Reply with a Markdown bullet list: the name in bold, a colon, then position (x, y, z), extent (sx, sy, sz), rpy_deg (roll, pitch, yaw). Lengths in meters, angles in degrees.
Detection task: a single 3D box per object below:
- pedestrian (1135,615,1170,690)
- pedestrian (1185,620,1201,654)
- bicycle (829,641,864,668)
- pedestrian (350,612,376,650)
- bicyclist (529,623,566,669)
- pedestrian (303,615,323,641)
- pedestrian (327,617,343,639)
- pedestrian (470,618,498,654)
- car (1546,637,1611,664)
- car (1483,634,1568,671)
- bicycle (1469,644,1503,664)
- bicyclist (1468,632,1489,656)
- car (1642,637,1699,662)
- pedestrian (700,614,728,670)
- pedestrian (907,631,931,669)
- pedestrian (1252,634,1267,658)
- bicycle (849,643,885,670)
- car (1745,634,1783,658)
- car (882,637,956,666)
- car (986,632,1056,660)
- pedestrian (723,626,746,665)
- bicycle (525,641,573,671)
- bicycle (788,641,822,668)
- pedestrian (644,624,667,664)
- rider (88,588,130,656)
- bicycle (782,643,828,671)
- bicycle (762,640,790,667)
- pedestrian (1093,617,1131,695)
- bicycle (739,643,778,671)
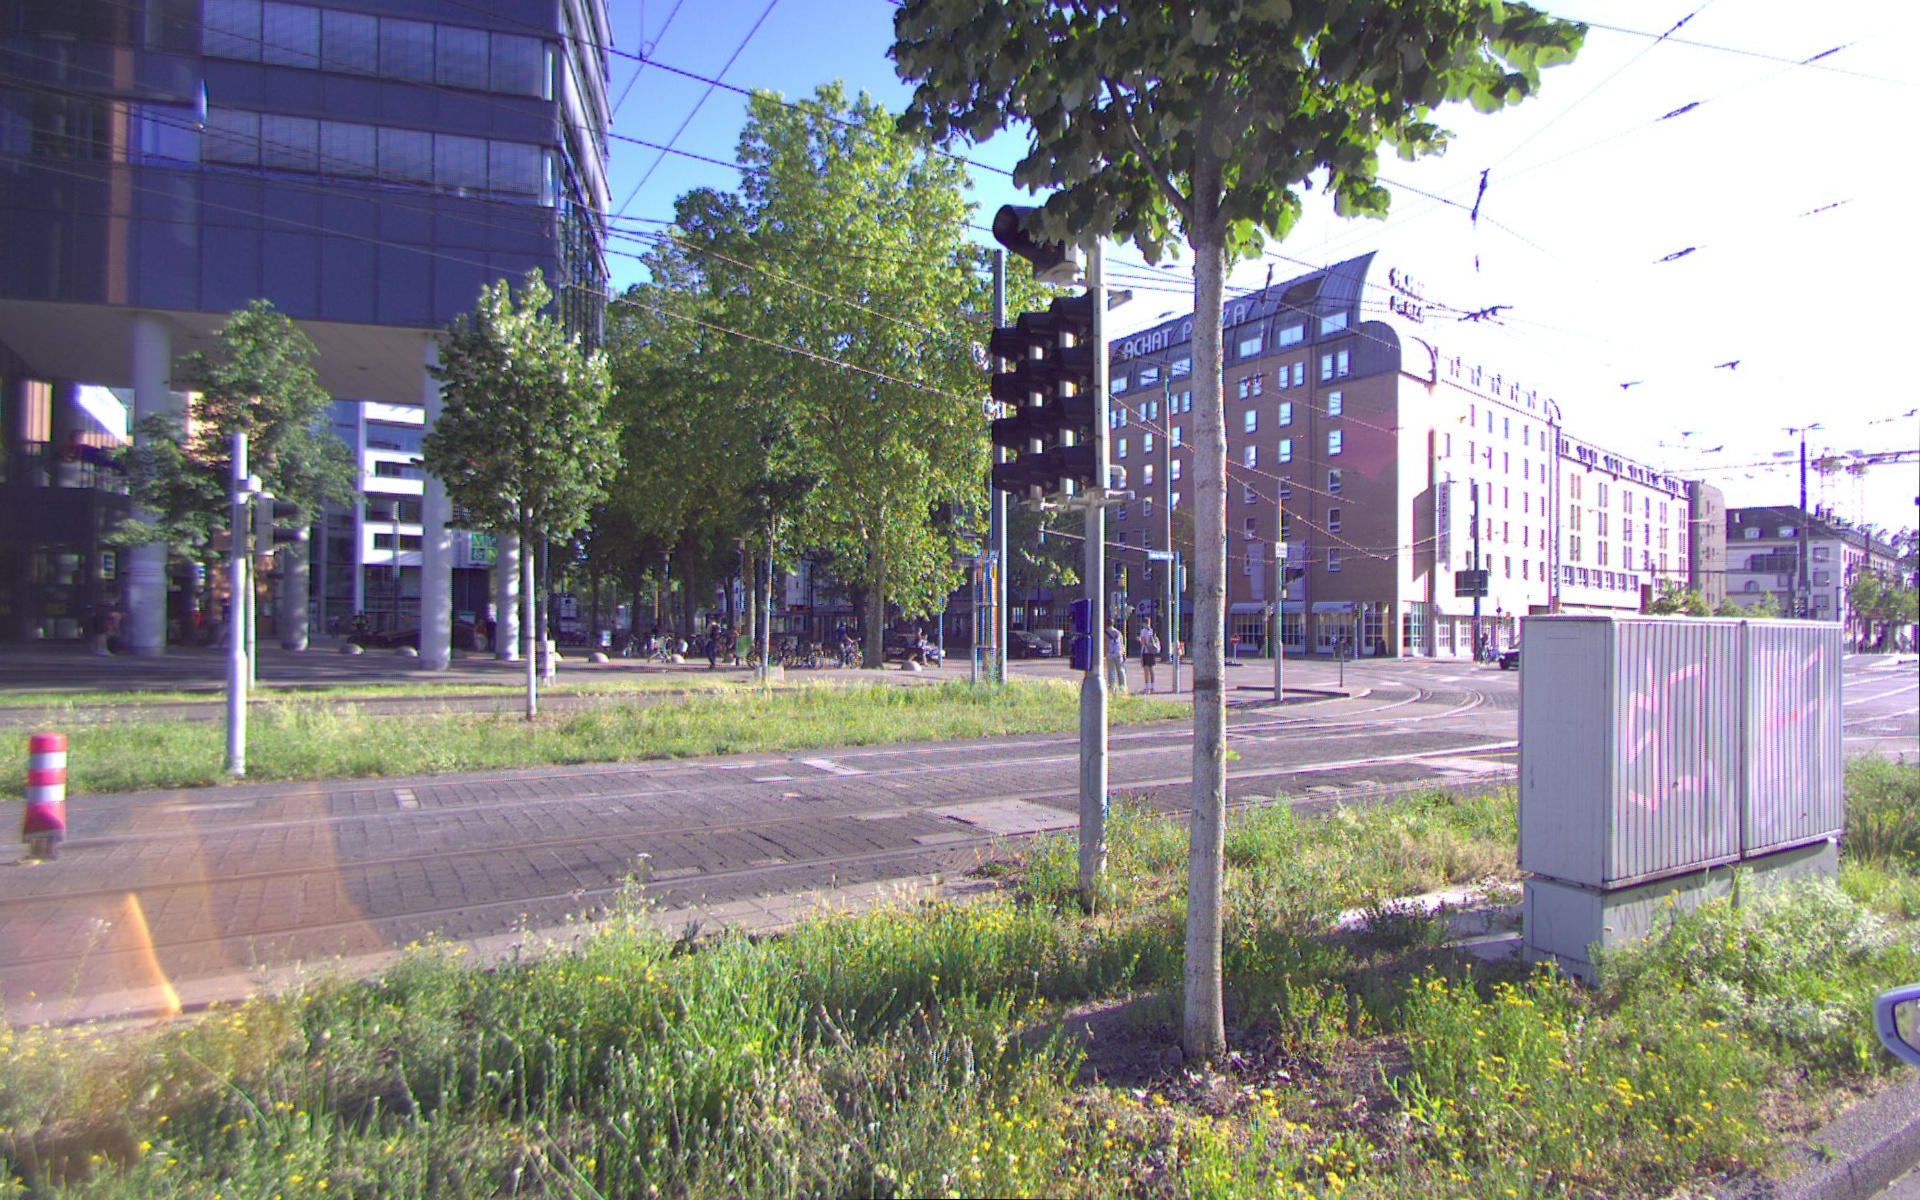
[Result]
- **pedestrian**: position (4.817, 1.294, 25.109), extent (0.656, 1.841, 0.559), rpy_deg (1, -1, -36)
- **pedestrian**: position (13.861, 2.203, 59.760), extent (0.669, 2.040, 0.663), rpy_deg (1, -1, -29)
- **bicycle**: position (-4.332, 2.067, 38.250), extent (0.536, 0.964, 1.753), rpy_deg (1, -2, -36)
- **pedestrian**: position (-28.073, 1.455, 47.256), extent (0.794, 1.730, 0.789), rpy_deg (1, 0, -13)
- **bicyclist**: position (-13.557, 1.510, 33.005), extent (0.999, 1.484, 0.678), rpy_deg (0, -1, 32)
- **pedestrian**: position (-38.374, 1.642, 59.609), extent (0.647, 1.500, 1.053), rpy_deg (1, 0, -13)
- **pedestrian**: position (-37.941, 1.719, 60.974), extent (0.651, 1.294, 0.636), rpy_deg (1, 0, -13)
- **pedestrian**: position (-23.780, 1.802, 50.166), extent (1.091, 1.730, 0.789), rpy_deg (1, 0, -13)
- **car**: position (35.348, 2.885, 57.364), extent (4.104, 1.440, 1.711), rpy_deg (2, -4, -36)
- **car**: position (26.771, 2.444, 47.473), extent (4.699, 1.617, 1.977), rpy_deg (2, -2, -40)
- **bicycle**: position (30.117, 3.078, 57.488), extent (2.900, 1.099, 0.645), rpy_deg (2, -2, -38)
- **bicyclist**: position (29.529, 2.502, 57.221), extent (0.942, 1.393, 0.752), rpy_deg (1, -1, -37)
- **car**: position (43.286, 3.016, 61.177), extent (3.960, 1.468, 1.563), rpy_deg (2, -2, -35)
- **pedestrian**: position (-9.145, 1.546, 37.327), extent (0.826, 2.040, 0.730), rpy_deg (1, 0, -25)
- **pedestrian**: position (-1.816, 2.206, 44.393), extent (0.832, 1.619, 0.692), rpy_deg (1, 0, -33)
- **pedestrian**: position (19.165, 2.935, 64.295), extent (0.652, 1.523, 0.672), rpy_deg (1, -1, -33)
- **bicycle**: position (-3.562, 2.160, 38.466), extent (0.536, 0.964, 1.753), rpy_deg (1, -2, -36)
- **car**: position (53.367, 3.040, 66.634), extent (1.726, 1.524, 3.858), rpy_deg (-1, -2, 43)
- **car**: position (-2.061, 2.500, 49.186), extent (1.977, 1.283, 3.968), rpy_deg (1, -2, -30)
- **car**: position (3.332, 2.489, 55.159), extent (1.743, 1.439, 3.960), rpy_deg (1, -2, -35)
- **pedestrian**: position (-9.716, 1.952, 43.300), extent (0.826, 1.619, 0.730), rpy_deg (1, 0, -25)
- **bicycle**: position (-13.512, 1.823, 32.983), extent (1.857, 0.922, 0.498), rpy_deg (0, -2, 34)
- **bicycle**: position (-5.948, 2.089, 38.577), extent (0.536, 0.964, 1.753), rpy_deg (1, -2, -36)
- **pedestrian**: position (-12.880, 1.837, 42.503), extent (0.826, 1.667, 0.730), rpy_deg (1, -1, -25)
- **rider**: position (-23.137, 0.607, 27.320), extent (0.704, 1.826, 0.715), rpy_deg (1, -1, -29)
- **bicycle**: position (-5.703, 2.085, 36.933), extent (1.742, 0.964, 0.540), rpy_deg (0, -1, 34)
- **bicycle**: position (-7.023, 2.039, 38.397), extent (0.530, 0.964, 1.772), rpy_deg (1, -1, 7)
- **pedestrian**: position (3.716, 1.356, 24.508), extent (0.656, 1.854, 0.627), rpy_deg (1, -1, -36)
- **bicycle**: position (-7.437, 2.085, 36.950), extent (0.538, 0.964, 1.748), rpy_deg (2, -2, -44)
